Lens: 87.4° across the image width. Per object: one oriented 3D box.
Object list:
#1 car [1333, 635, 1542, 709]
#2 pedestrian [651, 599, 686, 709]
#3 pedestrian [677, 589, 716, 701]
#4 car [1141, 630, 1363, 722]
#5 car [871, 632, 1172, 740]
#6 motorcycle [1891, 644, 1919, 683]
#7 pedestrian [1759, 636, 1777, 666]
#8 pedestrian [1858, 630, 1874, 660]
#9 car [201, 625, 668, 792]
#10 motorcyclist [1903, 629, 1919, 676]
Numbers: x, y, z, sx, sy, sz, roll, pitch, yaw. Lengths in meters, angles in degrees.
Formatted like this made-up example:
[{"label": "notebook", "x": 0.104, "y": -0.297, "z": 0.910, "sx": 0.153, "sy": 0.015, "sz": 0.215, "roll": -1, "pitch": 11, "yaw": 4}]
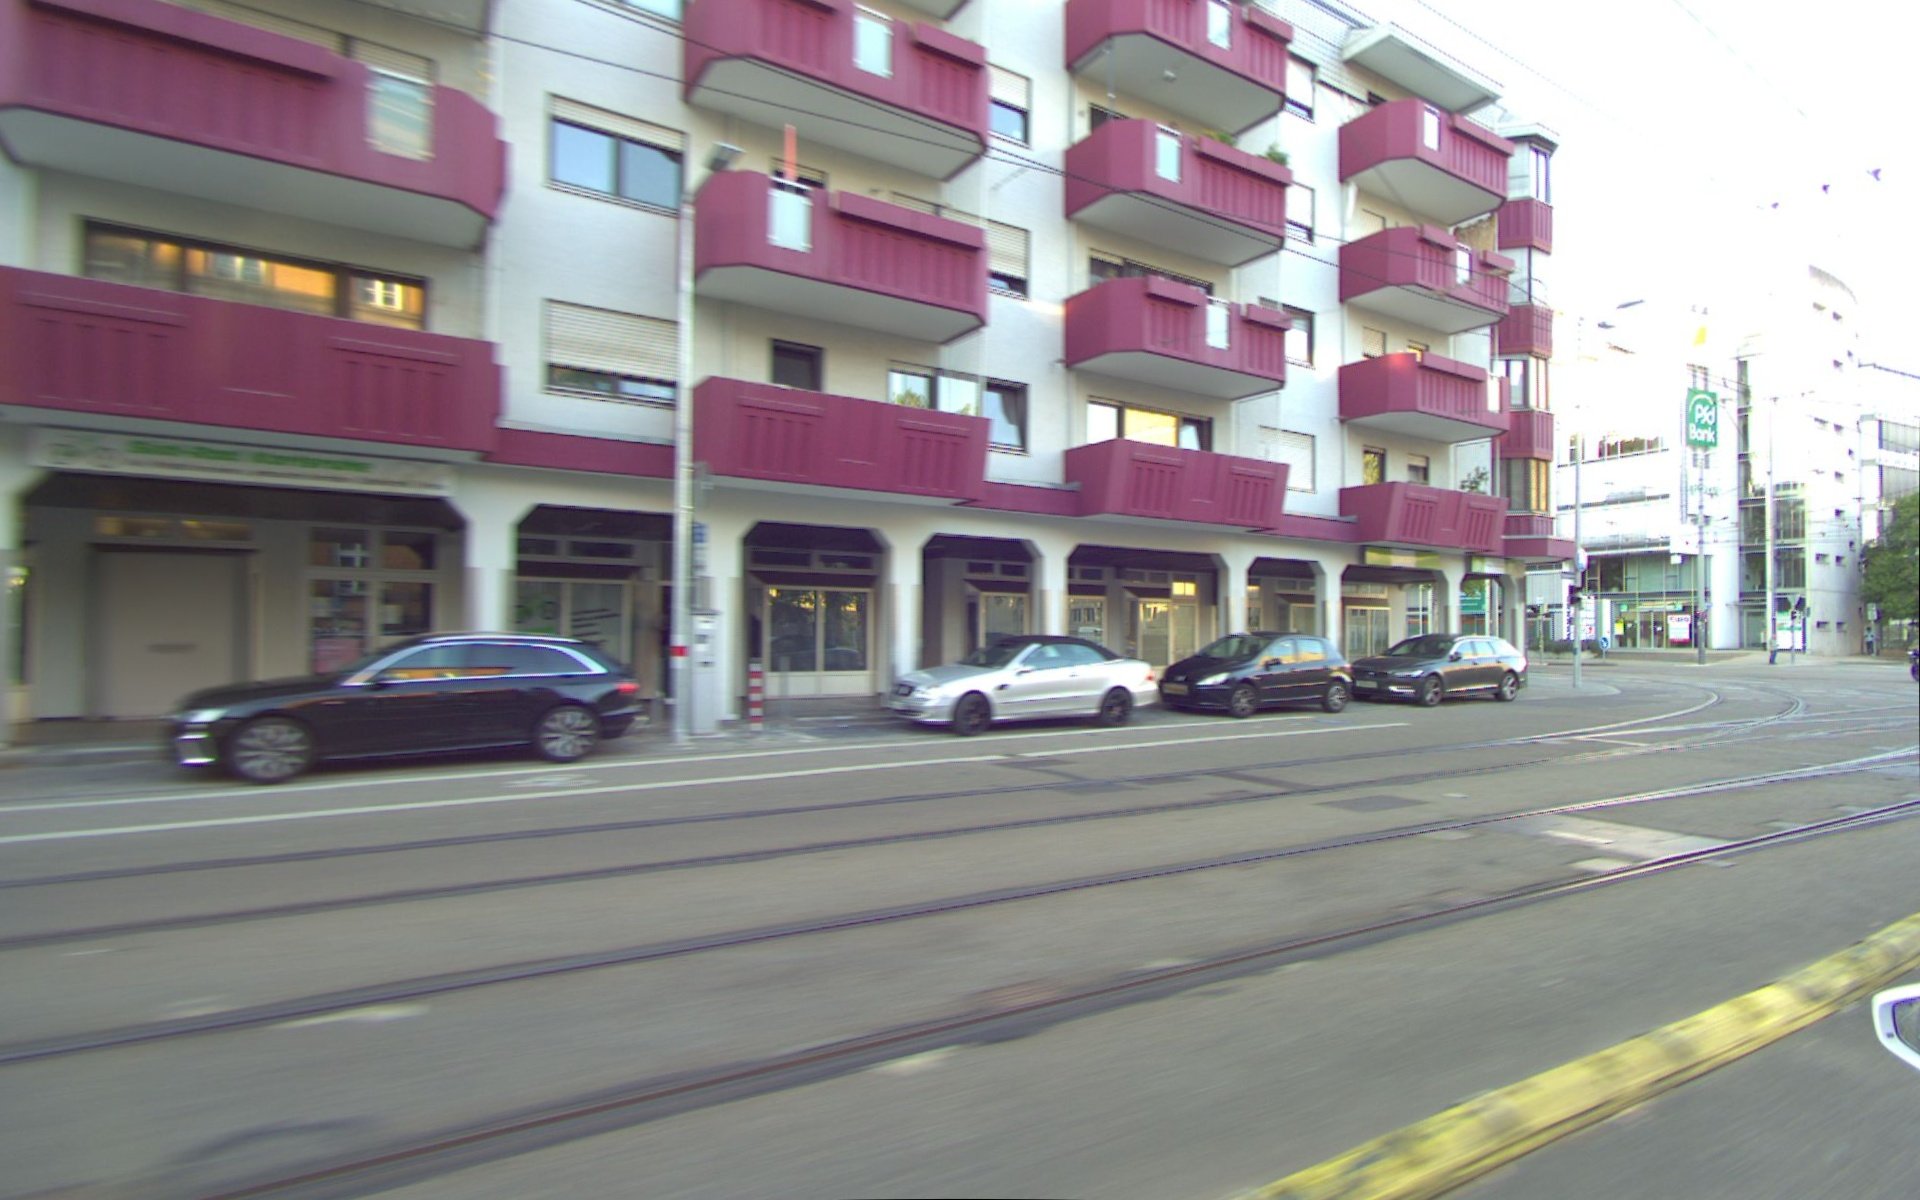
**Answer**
[{"label": "car", "x": 10.657, "y": 1.530, "z": 22.294, "sx": 5.031, "sy": 1.476, "sz": 1.841, "roll": 2, "pitch": -2, "yaw": -33}, {"label": "pedestrian", "x": -5.155, "y": 0.949, "z": 17.779, "sx": 0.518, "sy": 1.897, "sz": 0.614, "roll": 1, "pitch": -2, "yaw": -12}, {"label": "pedestrian", "x": -4.870, "y": 0.826, "z": 18.542, "sx": 0.523, "sy": 2.040, "sz": 0.519, "roll": 1, "pitch": -2, "yaw": -38}, {"label": "car", "x": 5.605, "y": 1.380, "z": 19.129, "sx": 4.155, "sy": 1.528, "sz": 1.778, "roll": 2, "pitch": -1, "yaw": -33}, {"label": "car", "x": 1.044, "y": 1.279, "z": 15.922, "sx": 4.623, "sy": 1.432, "sz": 1.683, "roll": 2, "pitch": 0, "yaw": -31}, {"label": "motorcycle", "x": 31.234, "y": 2.044, "z": 32.339, "sx": 0.814, "sy": 1.256, "sz": 2.492, "roll": 0, "pitch": -2, "yaw": 17}, {"label": "pedestrian", "x": 47.215, "y": 2.987, "z": 58.710, "sx": 0.649, "sy": 1.733, "sz": 0.546, "roll": 1, "pitch": -2, "yaw": -16}, {"label": "pedestrian", "x": 60.518, "y": 3.010, "z": 67.065, "sx": 0.543, "sy": 1.947, "sz": 0.657, "roll": 1, "pitch": -3, "yaw": -37}, {"label": "car", "x": -5.879, "y": 1.093, "z": 11.559, "sx": 4.438, "sy": 1.499, "sz": 1.980, "roll": 2, "pitch": 0, "yaw": -36}, {"label": "motorcyclist", "x": 31.225, "y": 1.679, "z": 32.318, "sx": 0.814, "sy": 1.492, "sz": 1.207, "roll": 0, "pitch": -2, "yaw": 17}]
